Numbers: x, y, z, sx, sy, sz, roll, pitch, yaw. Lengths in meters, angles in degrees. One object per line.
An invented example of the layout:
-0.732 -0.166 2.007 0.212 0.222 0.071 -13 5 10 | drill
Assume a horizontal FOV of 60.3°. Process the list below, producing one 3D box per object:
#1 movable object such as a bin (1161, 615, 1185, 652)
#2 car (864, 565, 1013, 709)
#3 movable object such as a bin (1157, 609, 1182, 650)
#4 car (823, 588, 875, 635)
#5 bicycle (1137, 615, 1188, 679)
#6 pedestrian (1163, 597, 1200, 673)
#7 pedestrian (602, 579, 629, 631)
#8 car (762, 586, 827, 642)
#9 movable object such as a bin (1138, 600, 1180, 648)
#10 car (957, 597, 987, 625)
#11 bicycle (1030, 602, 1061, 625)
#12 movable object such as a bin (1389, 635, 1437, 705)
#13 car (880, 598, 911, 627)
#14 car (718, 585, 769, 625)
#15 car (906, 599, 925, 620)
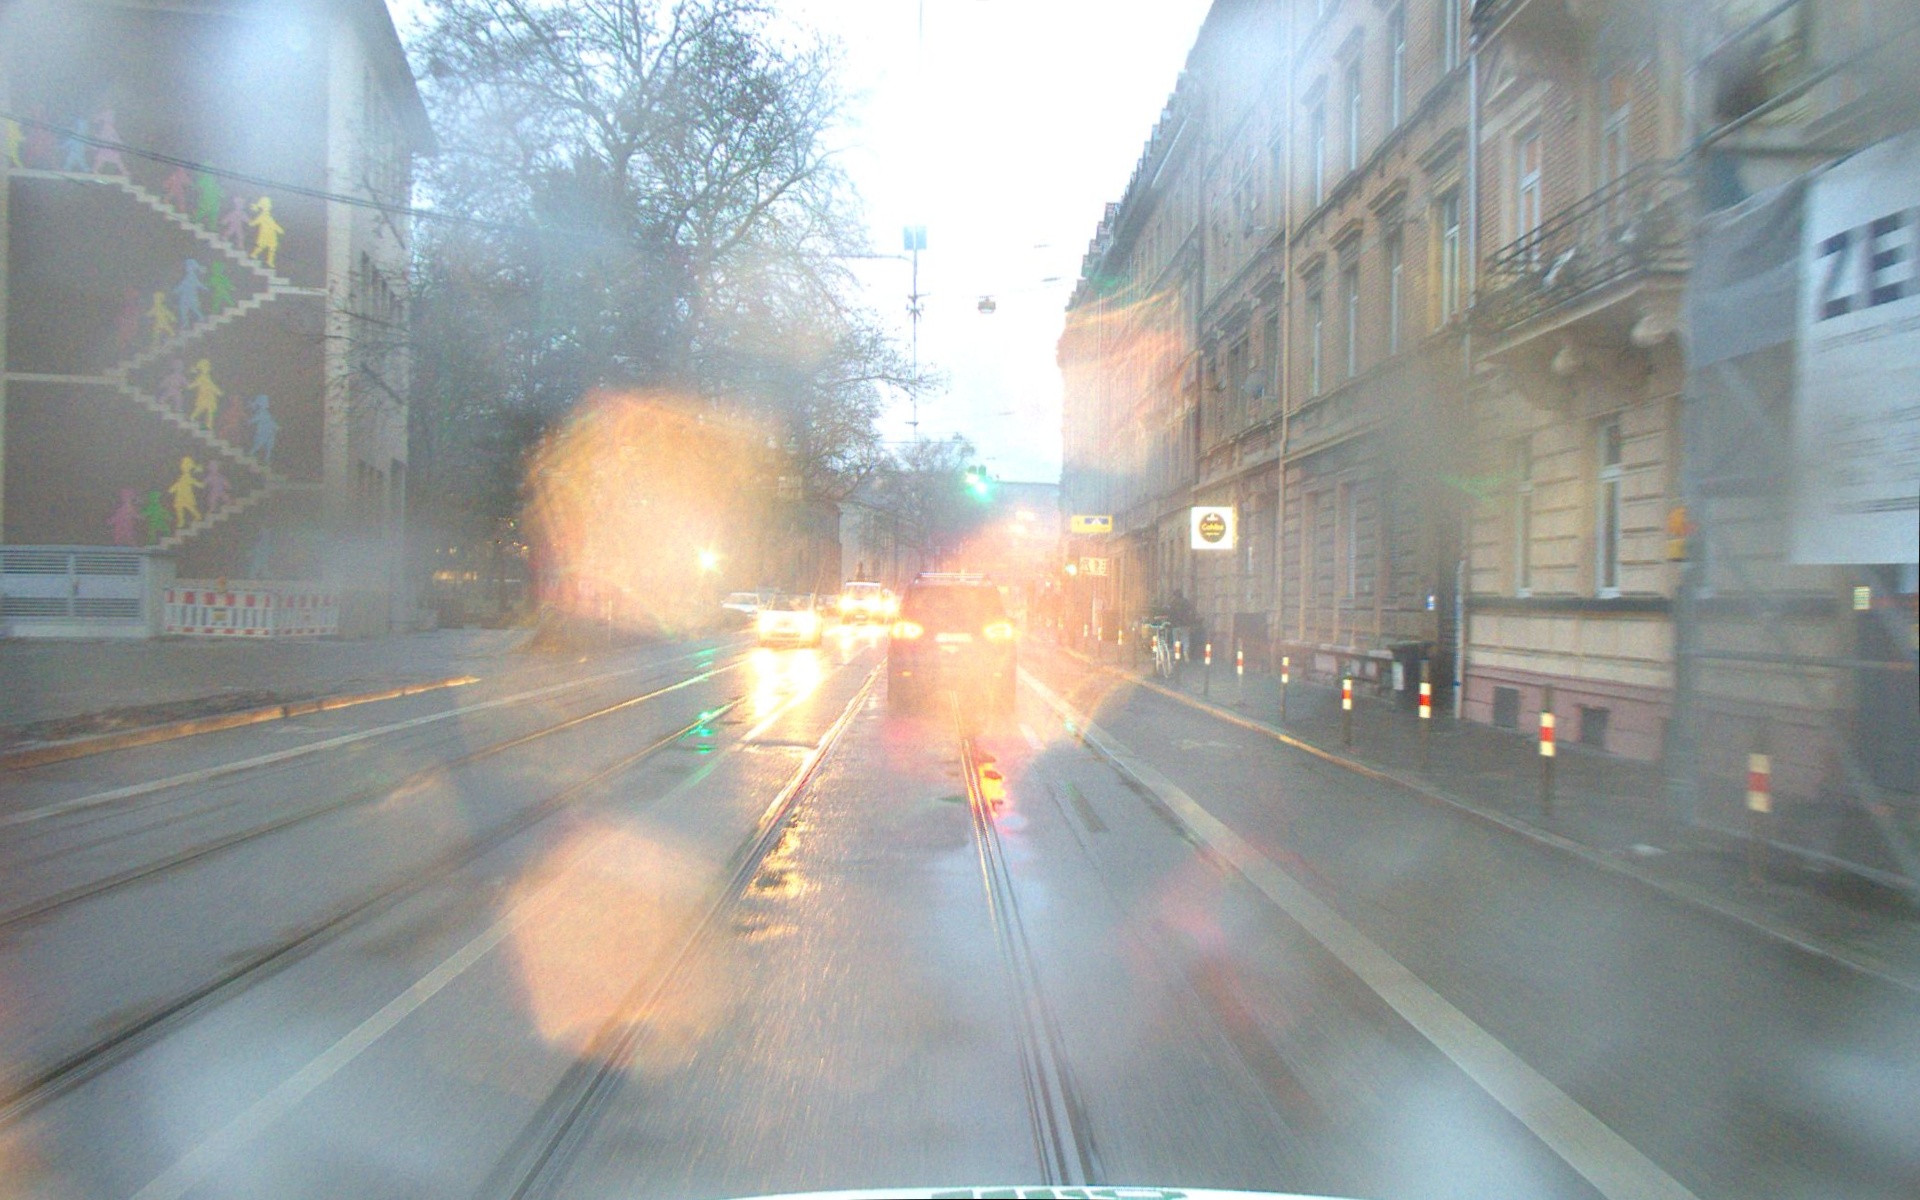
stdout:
5.477 0.853 42.535 0.482 0.945 0.421 0 0 -27 | movable object such as a bin
-0.228 0.494 24.043 1.952 1.874 4.001 1 0 2 | car
5.673 0.796 44.788 0.598 1.101 0.600 1 0 14 | movable object such as a bin
-5.802 0.623 87.118 2.396 2.388 5.844 0 0 0 | car
3.958 0.903 32.465 0.670 1.176 2.188 2 0 -1 | bicycle
5.161 0.804 38.524 0.817 1.731 0.954 1 -1 7 | pedestrian
-12.583 0.185 60.442 0.804 1.847 1.008 2 -1 -7 | pedestrian
-4.668 0.376 46.874 1.499 1.507 3.560 1 0 -1 | car
5.596 0.675 46.507 0.871 1.311 1.260 1 0 -8 | movable object such as a bin
0.837 0.774 114.942 1.952 1.874 4.001 1 0 2 | car
4.439 0.700 85.892 0.781 1.164 2.230 2 0 -20 | bicycle
6.289 0.965 22.963 0.496 0.947 0.507 1 0 -2 | movable object such as a bin
-4.715 0.911 120.802 1.952 2.049 4.000 2 0 1 | car
-9.354 0.227 71.742 1.945 1.643 4.424 2 0 -5 | car
-4.671 1.002 173.527 1.953 2.049 3.999 2 0 -1 | car
